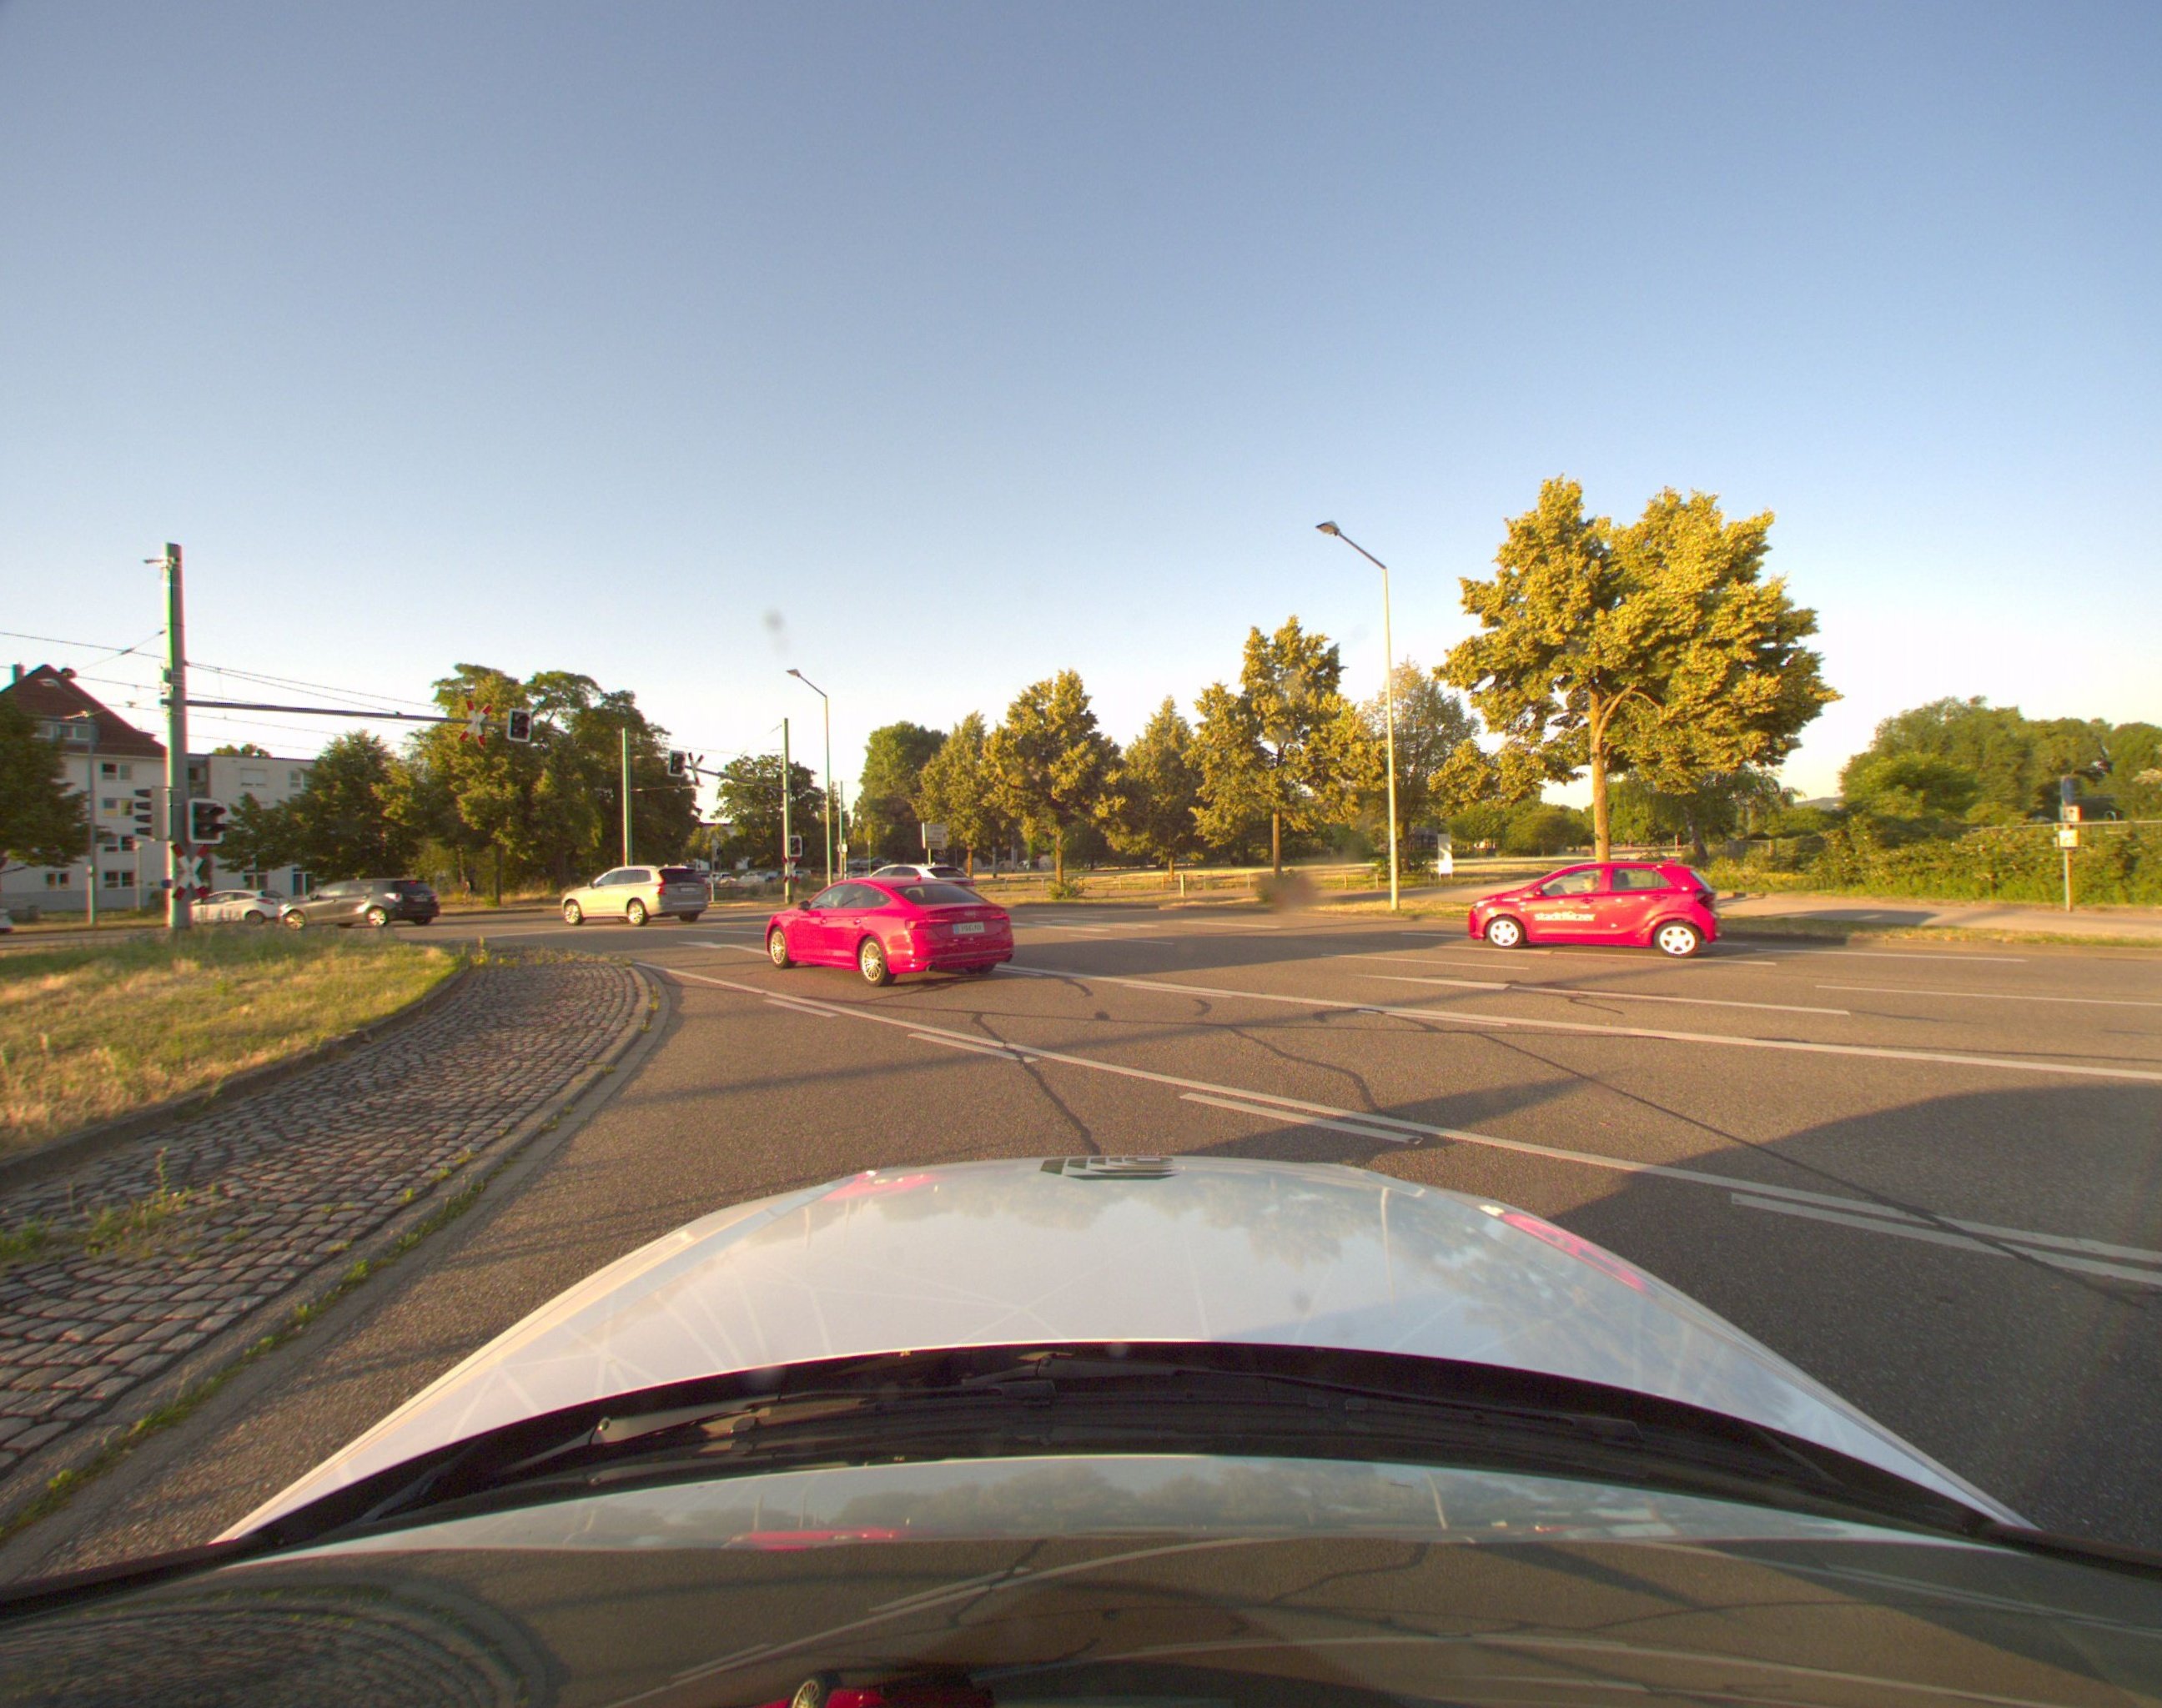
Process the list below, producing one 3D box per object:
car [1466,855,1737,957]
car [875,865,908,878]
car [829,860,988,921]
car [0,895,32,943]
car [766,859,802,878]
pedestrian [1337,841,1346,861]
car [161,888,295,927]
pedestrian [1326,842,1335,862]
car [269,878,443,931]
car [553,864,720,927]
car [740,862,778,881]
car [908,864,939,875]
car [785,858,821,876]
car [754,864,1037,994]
[{"bbox_3d":[8.573,0.802,13.557,3.585,1.483,1.738,-2,-2,38],"label":"car"},{"bbox_3d":[-25.278,2.347,108.752,3.948,1.551,2.013,-2,0,33],"label":"car"},{"bbox_3d":[-5.480,1.085,25.641,4.877,1.710,1.926,-1,0,32],"label":"car"},{"bbox_3d":[-35.584,2.112,24.558,4.553,1.448,1.715,-2,0,-22],"label":"car"},{"bbox_3d":[-34.713,1.701,95.145,3.948,2.098,2.013,-2,0,34],"label":"car"},{"bbox_3d":[21.443,-0.269,67.049,0.523,1.626,0.624,-2,0,37],"label":"pedestrian"},{"bbox_3d":[-35.180,2.186,33.683,3.484,1.443,1.544,-1,-1,-18],"label":"car"},{"bbox_3d":[20.608,-0.166,67.211,0.526,1.626,0.584,-2,0,39],"label":"pedestrian"},{"bbox_3d":[-24.065,1.663,27.130,4.418,1.633,1.806,-1,-1,6],"label":"car"},{"bbox_3d":[-13.535,1.233,24.750,4.860,1.754,1.934,-2,-1,25],"label":"car"},{"bbox_3d":[-36.653,1.987,92.649,3.948,2.098,2.013,-2,0,34],"label":"car"},{"bbox_3d":[-22.224,2.186,114.615,3.948,1.551,2.013,-2,0,33],"label":"car"},{"bbox_3d":[-33.417,1.543,97.789,3.948,2.098,2.013,-2,0,34],"label":"car"},{"bbox_3d":[-2.837,0.894,11.710,1.856,1.460,4.525,-1,0,-44],"label":"car"}]
